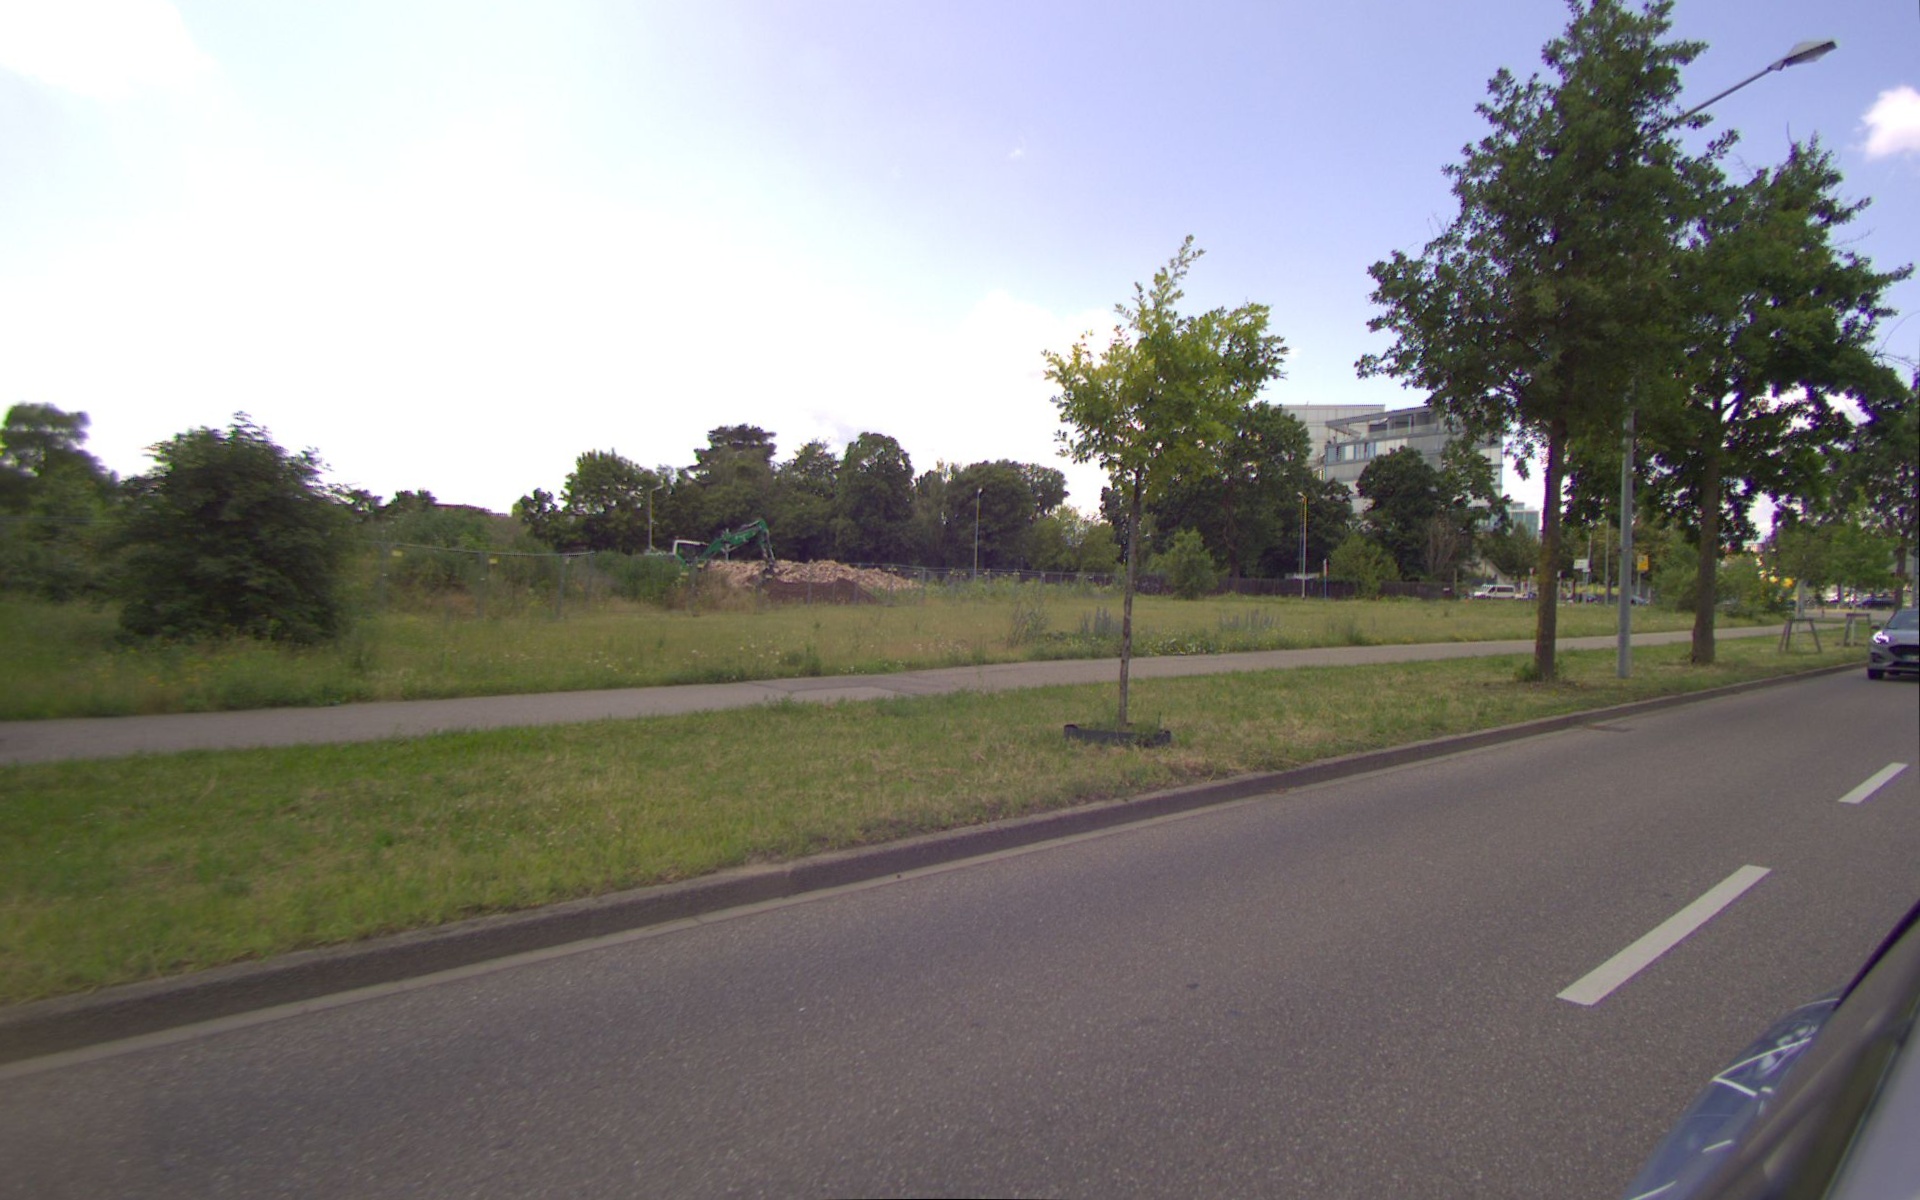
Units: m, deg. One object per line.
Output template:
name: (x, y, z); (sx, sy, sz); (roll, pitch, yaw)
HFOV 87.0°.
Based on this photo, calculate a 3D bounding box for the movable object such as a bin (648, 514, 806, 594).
movable object such as a bin: (-12.143, -2.376, 53.131); (7.478, 3.901, 3.047); (-1, 1, 4)

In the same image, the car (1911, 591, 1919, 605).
car: (100.621, -0.170, 103.614); (4.258, 1.346, 1.987); (1, 1, 21)

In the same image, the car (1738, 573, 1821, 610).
car: (67.337, -0.739, 83.394); (2.250, 2.889, 7.230); (0, 1, 12)

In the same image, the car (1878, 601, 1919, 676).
car: (21.004, 0.789, 21.481); (4.019, 1.489, 1.674); (0, 2, -40)

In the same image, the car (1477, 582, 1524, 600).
car: (68.213, -1.158, 127.738); (5.044, 2.175, 2.153); (0, 0, -11)

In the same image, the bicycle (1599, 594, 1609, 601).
bicycle: (81.860, -0.344, 128.662); (0.352, 0.836, 1.473); (1, 1, 2)
